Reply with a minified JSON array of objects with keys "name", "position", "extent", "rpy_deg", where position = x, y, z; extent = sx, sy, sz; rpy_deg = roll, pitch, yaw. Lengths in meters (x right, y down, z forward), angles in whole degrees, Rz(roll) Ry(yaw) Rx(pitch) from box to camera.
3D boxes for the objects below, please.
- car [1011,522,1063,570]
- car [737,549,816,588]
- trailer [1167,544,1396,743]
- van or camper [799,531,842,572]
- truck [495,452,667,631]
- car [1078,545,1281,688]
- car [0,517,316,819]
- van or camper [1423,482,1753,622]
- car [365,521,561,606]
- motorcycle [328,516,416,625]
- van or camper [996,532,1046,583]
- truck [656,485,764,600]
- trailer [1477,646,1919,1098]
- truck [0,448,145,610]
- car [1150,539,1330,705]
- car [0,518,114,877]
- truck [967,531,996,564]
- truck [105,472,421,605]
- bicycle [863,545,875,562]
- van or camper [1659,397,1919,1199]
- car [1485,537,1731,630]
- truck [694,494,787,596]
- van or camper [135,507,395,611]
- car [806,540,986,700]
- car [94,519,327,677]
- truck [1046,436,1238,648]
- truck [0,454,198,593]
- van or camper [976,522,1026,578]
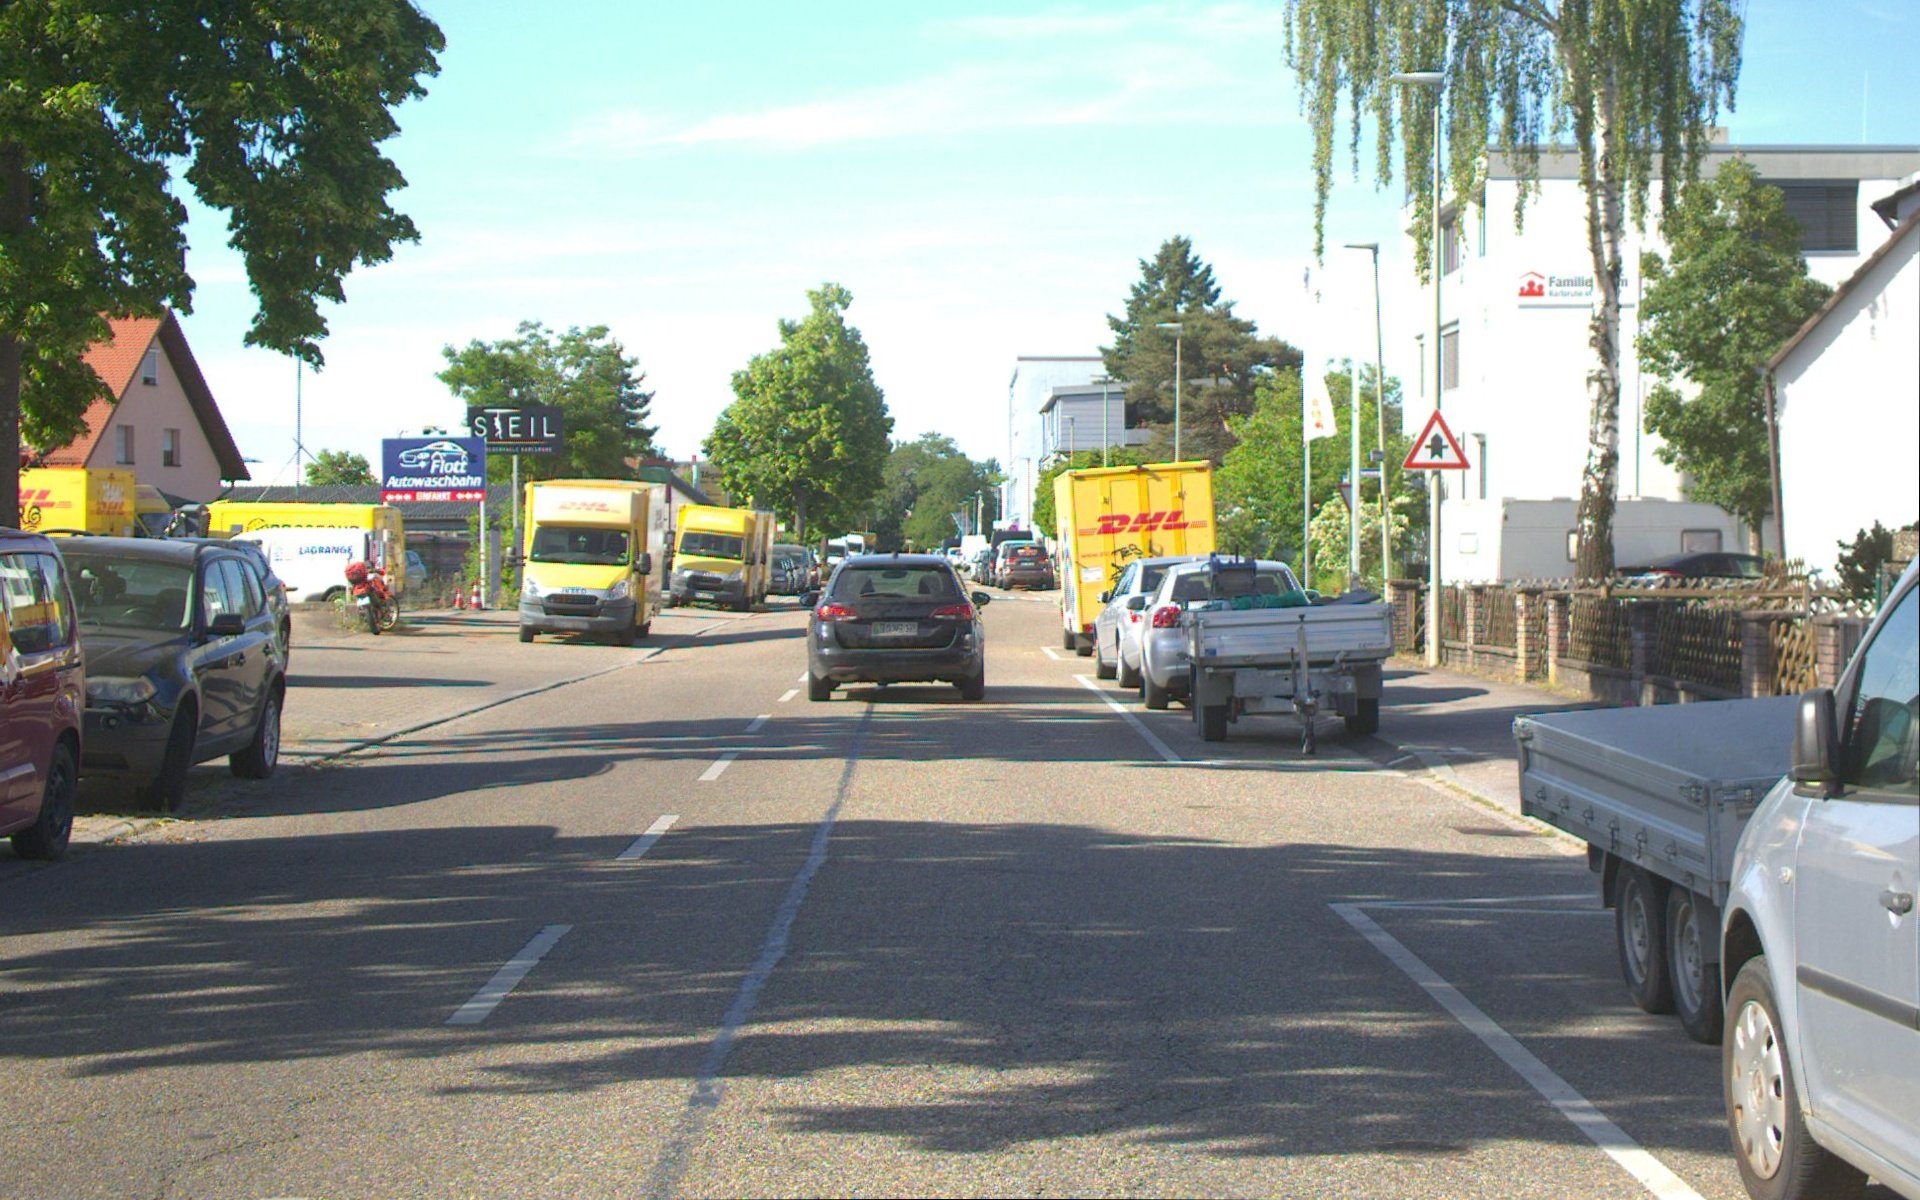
[{"name":"car","position":[2.962,-2.078,132.746],"extent":[1.919,1.819,4.080],"rpy_deg":[0,1,0]},{"name":"car","position":[-7.464,-1.305,139.537],"extent":[1.875,1.480,4.045],"rpy_deg":[-2,2,-24]},{"name":"trailer","position":[2.598,0.316,28.380],"extent":[1.627,1.533,3.198],"rpy_deg":[0,1,1]},{"name":"van or camper","position":[-8.250,-2.848,202.448],"extent":[2.323,2.354,6.529],"rpy_deg":[0,1,-4]},{"name":"truck","position":[-6.779,-1.053,62.287],"extent":[2.402,2.973,7.246],"rpy_deg":[2,1,-1]},{"name":"car","position":[2.478,0.145,39.889],"extent":[1.783,1.537,4.538],"rpy_deg":[0,1,-4]},{"name":"car","position":[-5.568,0.359,22.966],"extent":[1.674,1.765,4.555],"rpy_deg":[2,1,-1]},{"name":"van or camper","position":[11.761,-0.907,64.314],"extent":[5.812,2.532,2.290],"rpy_deg":[-1,1,-25]},{"name":"car","position":[-11.838,-0.869,81.999],"extent":[4.249,2.007,1.868],"rpy_deg":[0,1,8]},{"name":"motorcycle","position":[-10.618,-0.551,62.155],"extent":[0.781,1.866,3.040],"rpy_deg":[3,2,4]},{"name":"van or camper","position":[2.436,-1.721,138.012],"extent":[1.919,2.012,4.080],"rpy_deg":[0,1,0]},{"name":"truck","position":[-6.783,-1.571,93.979],"extent":[2.402,2.973,6.374],"rpy_deg":[2,1,0]},{"name":"trailer","position":[2.877,0.817,11.650],"extent":[1.627,1.213,3.145],"rpy_deg":[0,1,-3]},{"name":"truck","position":[-19.533,-1.473,68.795],"extent":[5.671,3.109,2.522],"rpy_deg":[2,1,11]},{"name":"car","position":[2.753,0.171,34.390],"extent":[1.674,1.537,4.043],"rpy_deg":[1,1,3]},{"name":"car","position":[-5.566,0.455,16.691],"extent":[1.803,1.746,4.342],"rpy_deg":[2,1,0]},{"name":"truck","position":[1.471,-3.624,237.585],"extent":[1.993,2.280,6.956],"rpy_deg":[0,1,0]},{"name":"truck","position":[-14.318,-1.275,70.702],"extent":[5.924,2.559,2.223],"rpy_deg":[2,1,11]},{"name":"bicycle","position":[-6.317,-3.199,238.026],"extent":[0.829,1.149,2.941],"rpy_deg":[0,1,-2]},{"name":"van or camper","position":[2.612,0.574,6.475],"extent":[1.719,1.884,4.180],"rpy_deg":[1,1,0]},{"name":"car","position":[11.572,-0.313,61.377],"extent":[3.986,1.612,1.811],"rpy_deg":[-1,1,-24]},{"name":"truck","position":[-6.557,-1.668,103.260],"extent":[2.193,2.892,6.439],"rpy_deg":[2,1,1]},{"name":"van or camper","position":[-13.667,-0.812,67.781],"extent":[4.544,2.007,2.250],"rpy_deg":[0,1,6]},{"name":"car","position":[-0.609,0.161,35.188],"extent":[1.712,1.527,3.687],"rpy_deg":[0,1,1]},{"name":"car","position":[-8.944,-0.057,41.348],"extent":[1.861,1.708,4.277],"rpy_deg":[3,1,-1]},{"name":"truck","position":[2.678,-0.867,52.458],"extent":[2.402,2.926,7.016],"rpy_deg":[-2,1,0]},{"name":"truck","position":[-19.946,-1.646,75.063],"extent":[6.095,2.962,2.172],"rpy_deg":[0,1,13]},{"name":"van or camper","position":[1.695,-2.080,143.126],"extent":[1.993,2.302,4.000],"rpy_deg":[0,1,0]}]
